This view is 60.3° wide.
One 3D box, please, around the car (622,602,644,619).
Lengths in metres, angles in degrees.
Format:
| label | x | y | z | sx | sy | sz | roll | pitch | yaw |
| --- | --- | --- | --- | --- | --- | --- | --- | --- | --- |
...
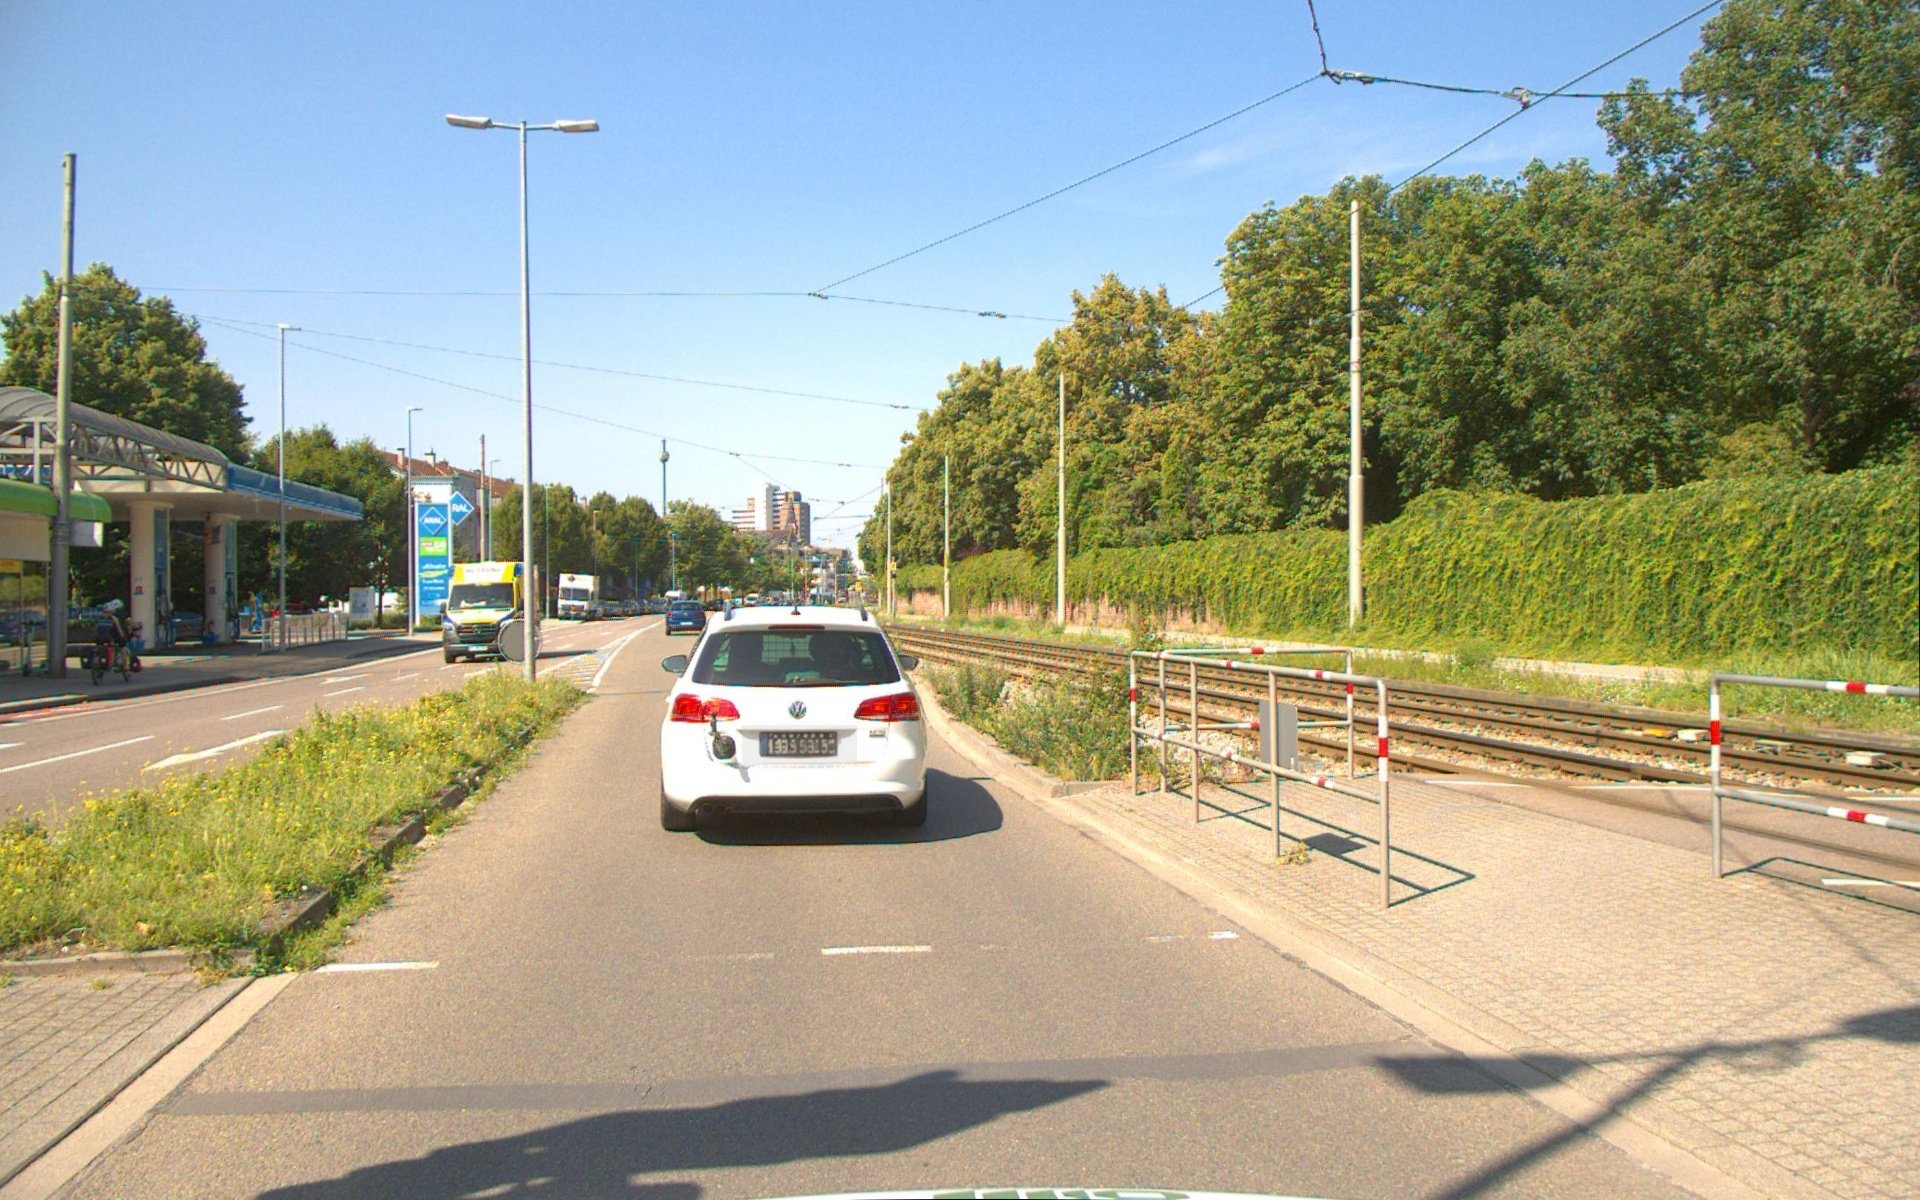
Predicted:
| label | x | y | z | sx | sy | sz | roll | pitch | yaw |
| --- | --- | --- | --- | --- | --- | --- | --- | --- | --- |
| car | -35.222 | 1.147 | 178.314 | 1.735 | 1.753 | 4.864 | 1 | 0 | -5 |

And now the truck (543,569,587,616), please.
| label | x | y | z | sx | sy | sz | roll | pitch | yaw |
| --- | --- | --- | --- | --- | --- | --- | --- | --- | --- |
| truck | -30.902 | -0.560 | 129.653 | 2.617 | 3.592 | 8.573 | 1 | 0 | -8 |

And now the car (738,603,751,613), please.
| label | x | y | z | sx | sy | sz | roll | pitch | yaw |
| --- | --- | --- | --- | --- | --- | --- | --- | --- | --- |
| car | -32.727 | 1.184 | 251.300 | 1.626 | 1.445 | 4.306 | -3 | 0 | -4 |

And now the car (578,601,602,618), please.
| label | x | y | z | sx | sy | sz | roll | pitch | yaw |
| --- | --- | --- | --- | --- | --- | --- | --- | --- | --- |
| car | -31.687 | 0.828 | 141.801 | 1.725 | 1.454 | 4.273 | 1 | 0 | -8 |

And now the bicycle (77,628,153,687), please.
| label | x | y | z | sx | sy | sz | roll | pitch | yaw |
| --- | --- | --- | --- | --- | --- | --- | --- | --- | --- |
| bicycle | -17.736 | 1.189 | 34.777 | 0.811 | 1.113 | 2.762 | -1 | 0 | -14 |

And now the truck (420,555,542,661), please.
| label | x | y | z | sx | sy | sz | roll | pitch | yaw |
| --- | --- | --- | --- | --- | --- | --- | --- | --- | --- |
| truck | -13.478 | 0.197 | 47.042 | 2.287 | 2.714 | 7.345 | -2 | 0 | -8 |

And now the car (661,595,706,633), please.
| label | x | y | z | sx | sy | sz | roll | pitch | yaw |
| --- | --- | --- | --- | --- | --- | --- | --- | --- | --- |
| car | -11.791 | 0.593 | 70.737 | 1.766 | 1.533 | 3.994 | 0 | 1 | -7 |

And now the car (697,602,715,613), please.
| label | x | y | z | sx | sy | sz | roll | pitch | yaw |
| --- | --- | --- | --- | --- | --- | --- | --- | --- | --- |
| car | -35.792 | 1.068 | 233.319 | 1.664 | 1.442 | 4.001 | -1 | 0 | 3 |

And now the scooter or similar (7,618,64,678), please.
| label | x | y | z | sx | sy | sz | roll | pitch | yaw |
| --- | --- | --- | --- | --- | --- | --- | --- | --- | --- |
| scooter or similar | -19.895 | 1.021 | 35.616 | 0.432 | 1.259 | 1.345 | -1 | 0 | 0 |

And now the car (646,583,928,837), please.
| label | x | y | z | sx | sy | sz | roll | pitch | yaw |
| --- | --- | --- | --- | --- | --- | --- | --- | --- | --- |
| car | -1.337 | 0.654 | 11.979 | 1.660 | 1.476 | 4.449 | 0 | 0 | -9 |

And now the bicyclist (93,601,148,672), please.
| label | x | y | z | sx | sy | sz | roll | pitch | yaw |
| --- | --- | --- | --- | --- | --- | --- | --- | --- | --- |
| bicyclist | -17.677 | 0.763 | 34.850 | 0.832 | 1.461 | 0.830 | -1 | 0 | -13 |

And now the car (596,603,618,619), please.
| label | x | y | z | sx | sy | sz | roll | pitch | yaw |
| --- | --- | --- | --- | --- | --- | --- | --- | --- | --- |
| car | -34.171 | 1.079 | 160.145 | 1.747 | 1.509 | 4.848 | 1 | -1 | -8 |

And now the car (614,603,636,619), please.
| label | x | y | z | sx | sy | sz | roll | pitch | yaw |
| --- | --- | --- | --- | --- | --- | --- | --- | --- | --- |
| car | -34.975 | 1.171 | 172.778 | 1.683 | 1.653 | 4.308 | 1 | 0 | -4 |

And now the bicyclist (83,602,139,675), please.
| label | x | y | z | sx | sy | sz | roll | pitch | yaw |
| --- | --- | --- | --- | --- | --- | --- | --- | --- | --- |
| bicyclist | -17.499 | 0.789 | 34.098 | 0.832 | 1.461 | 0.830 | 0 | 1 | -13 |

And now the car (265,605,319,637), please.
| label | x | y | z | sx | sy | sz | roll | pitch | yaw |
| --- | --- | --- | --- | --- | --- | --- | --- | --- | --- |
| car | -37.492 | 1.165 | 92.922 | 1.766 | 1.597 | 4.508 | -1 | 1 | -9 |
